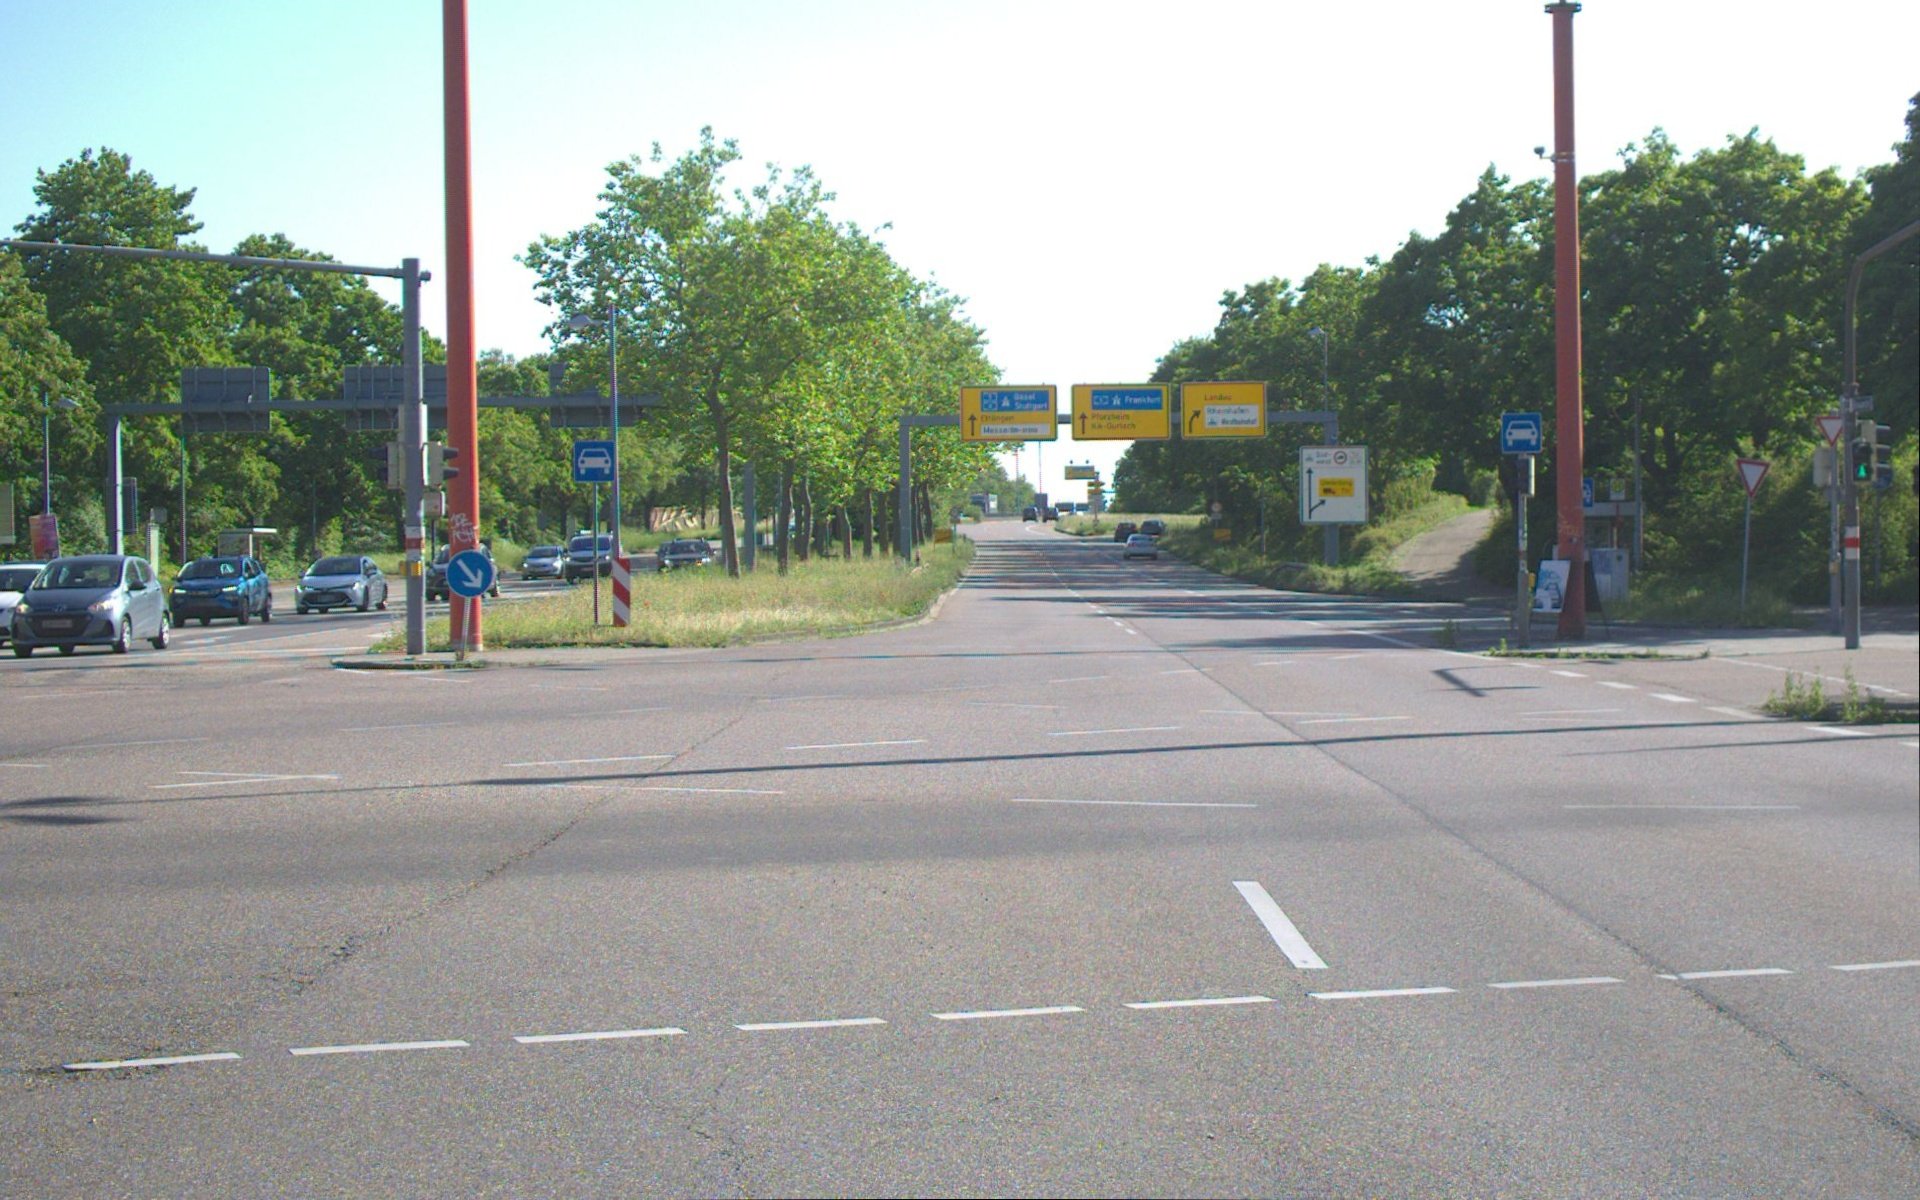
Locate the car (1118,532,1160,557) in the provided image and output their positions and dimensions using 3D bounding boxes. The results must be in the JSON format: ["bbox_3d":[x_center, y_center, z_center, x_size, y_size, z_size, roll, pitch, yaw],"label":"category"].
[{"bbox_3d":[10.013,-3.127,192.472,2.054,1.366,4.392,0,1,-1],"label":"car"}]

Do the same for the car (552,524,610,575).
[{"bbox_3d":[-15.182,-2.029,137.921,2.003,2.007,4.000,1,1,-2],"label":"car"}]

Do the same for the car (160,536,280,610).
[{"bbox_3d":[-16.141,-0.596,75.157,1.704,1.553,3.803,1,1,2],"label":"car"}]

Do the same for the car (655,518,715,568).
[{"bbox_3d":[-9.633,-1.987,120.695,1.657,1.741,4.000,1,1,2],"label":"car"}]

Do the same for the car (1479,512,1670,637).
[{"bbox_3d":[9.651,-0.422,53.785,1.996,1.881,3.995,0,1,25],"label":"car"}]

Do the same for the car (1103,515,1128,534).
[{"bbox_3d":[11.330,-5.514,250.207,1.738,1.337,3.081,0,1,1],"label":"car"}]

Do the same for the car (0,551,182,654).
[{"bbox_3d":[-13.138,0.021,52.037,1.701,1.416,4.000,3,0,1],"label":"car"}]

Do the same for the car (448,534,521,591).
[{"bbox_3d":[-14.777,-1.184,106.939,1.625,1.733,4.000,0,1,1],"label":"car"}]

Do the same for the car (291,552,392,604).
[{"bbox_3d":[-15.974,-0.588,88.994,2.003,1.303,4.000,-1,1,-2],"label":"car"}]

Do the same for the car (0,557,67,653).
[{"bbox_3d":[-16.719,0.059,58.825,1.704,1.590,4.000,1,1,2],"label":"car"}]
